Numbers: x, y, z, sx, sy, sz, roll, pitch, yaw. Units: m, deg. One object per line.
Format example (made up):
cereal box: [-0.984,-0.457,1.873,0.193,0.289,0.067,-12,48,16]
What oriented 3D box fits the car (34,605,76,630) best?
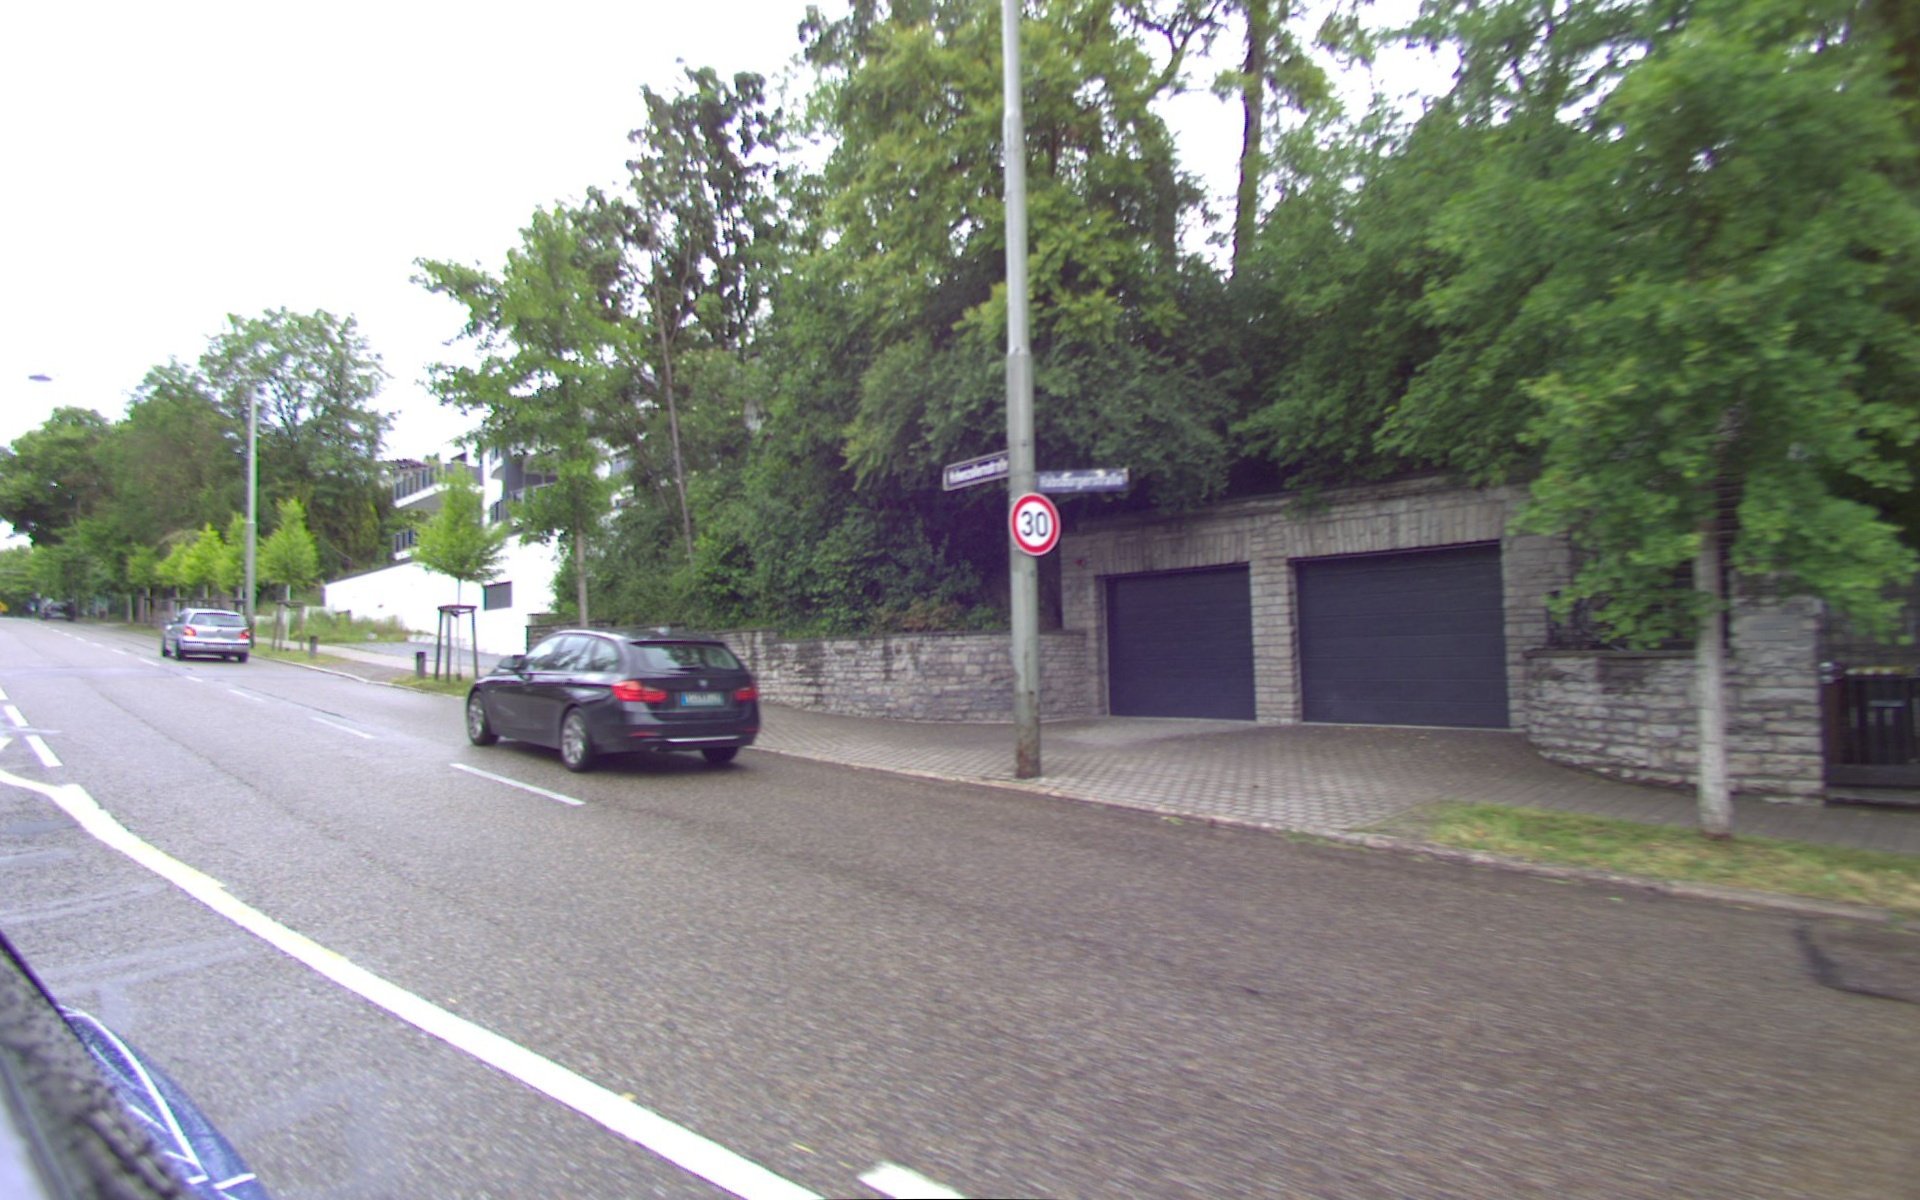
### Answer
car: [-61.392,1.186,68.657,3.919,1.561,1.726,0,-3,44]

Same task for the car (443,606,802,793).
car: [-3.931,0.952,11.290,1.889,1.597,4.590,5,-3,-45]

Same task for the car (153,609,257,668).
car: [-21.448,1.070,28.698,3.802,1.497,1.745,0,-4,45]
